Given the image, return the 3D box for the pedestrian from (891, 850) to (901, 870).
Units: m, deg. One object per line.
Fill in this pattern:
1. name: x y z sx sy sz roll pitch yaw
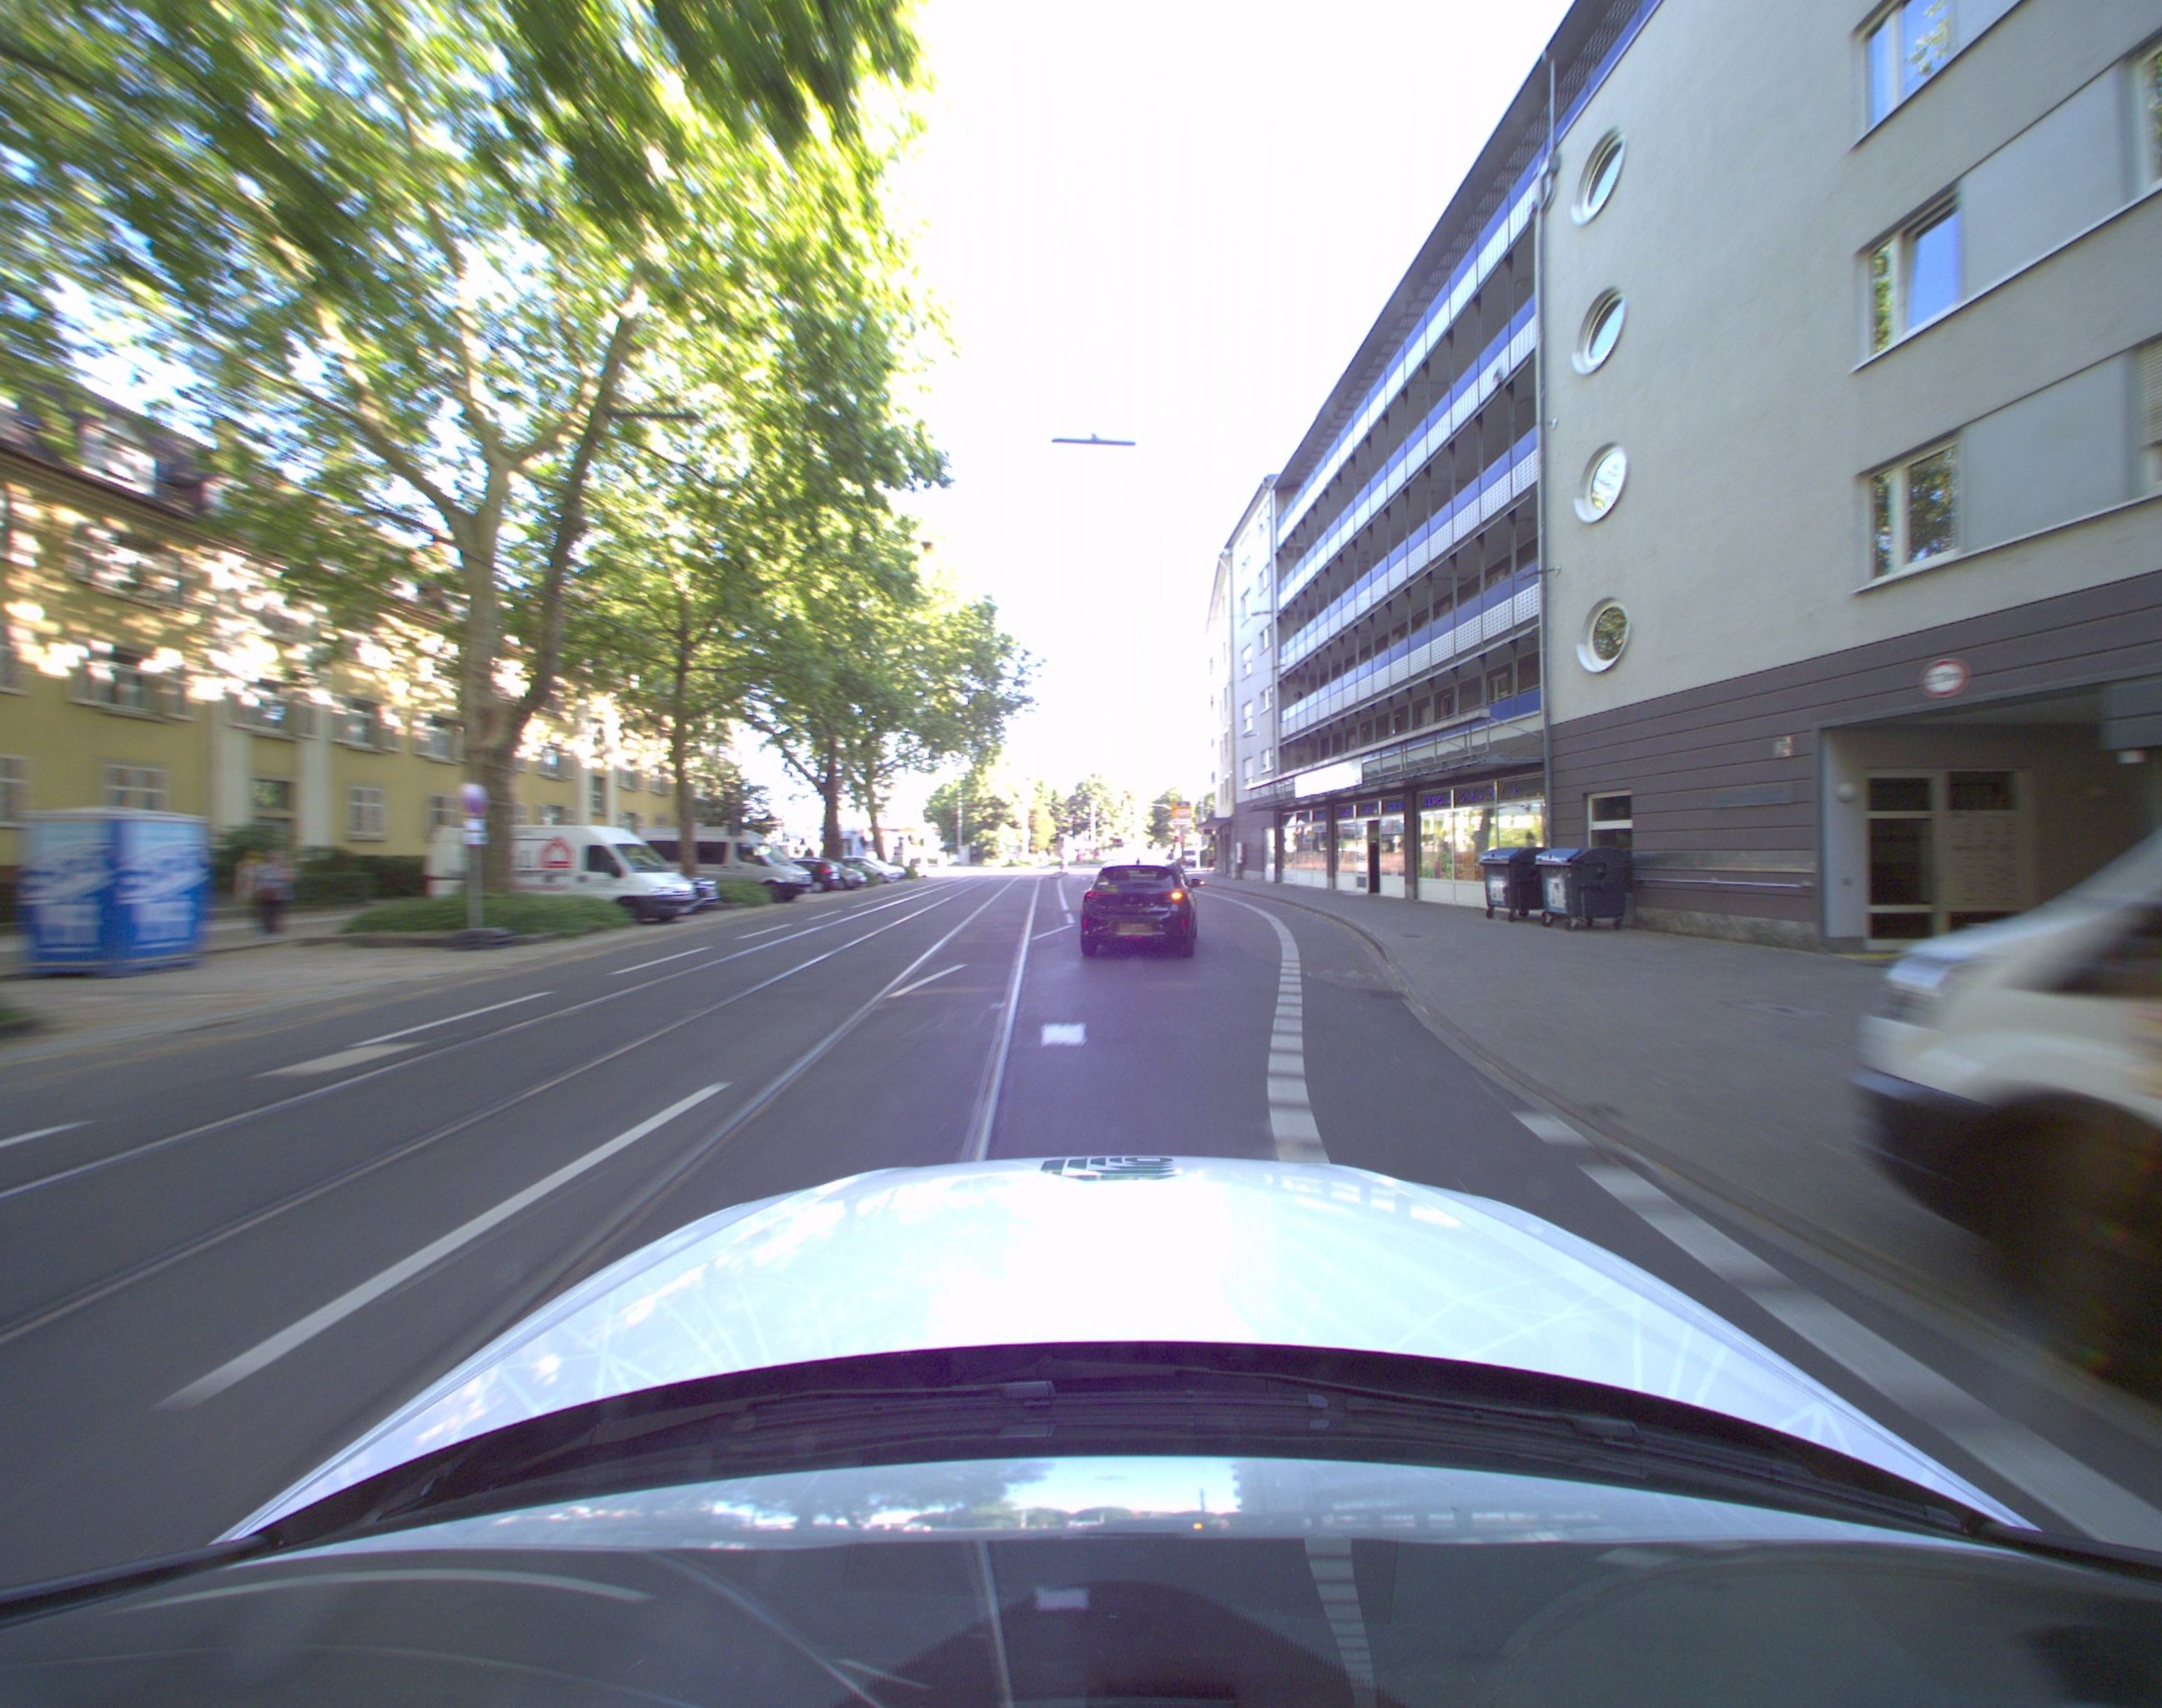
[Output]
1. pedestrian: -20.550 0.652 90.403 0.825 2.220 0.889 1 -1 -37

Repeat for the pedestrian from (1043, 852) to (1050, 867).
1. pedestrian: -4.221 0.653 100.342 0.611 1.853 0.587 0 -1 22

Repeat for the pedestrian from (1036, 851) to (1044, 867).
1. pedestrian: -5.047 0.603 100.350 0.651 1.932 0.613 0 -1 29

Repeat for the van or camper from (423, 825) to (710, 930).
1. van or camper: -12.263 0.542 19.729 5.482 2.379 2.270 0 0 1

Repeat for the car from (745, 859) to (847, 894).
1. car: -12.804 0.995 36.716 3.976 1.515 1.649 0 0 -2

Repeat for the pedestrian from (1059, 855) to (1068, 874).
1. pedestrian: -1.328 0.789 61.811 0.650 1.363 0.646 -1 0 4

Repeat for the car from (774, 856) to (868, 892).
1. car: -12.515 0.951 39.393 3.976 1.651 1.649 0 0 -2

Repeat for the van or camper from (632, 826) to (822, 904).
1. van or camper: -12.455 0.395 28.998 5.709 2.644 2.267 0 0 -2

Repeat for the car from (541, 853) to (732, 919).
1. car: -12.187 0.847 22.598 4.162 1.671 1.961 -1 0 -6

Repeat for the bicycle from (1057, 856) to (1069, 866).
1. bicycle: -1.998 0.765 89.608 0.782 0.992 2.252 0 0 14

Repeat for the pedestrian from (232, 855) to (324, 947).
1. pedestrian: -14.546 0.821 14.780 0.757 1.612 0.890 1 0 6

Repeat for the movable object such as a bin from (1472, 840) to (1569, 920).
1. movable object such as a bin: 8.741 0.496 16.260 1.108 1.484 1.386 -3 0 -2

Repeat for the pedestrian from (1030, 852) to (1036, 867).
1. pedestrian: -5.906 0.647 100.061 0.610 1.853 0.587 0 -1 27

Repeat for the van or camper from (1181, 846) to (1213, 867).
1. van or camper: 12.703 0.266 89.030 2.148 2.146 4.532 0 0 28

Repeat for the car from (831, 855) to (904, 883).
1. car: -13.458 0.915 51.504 4.162 1.671 1.961 -1 0 -6

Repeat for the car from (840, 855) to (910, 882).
1. car: -13.586 0.947 53.899 4.162 1.671 1.961 -1 0 -6

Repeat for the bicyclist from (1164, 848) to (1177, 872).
1. bicyclist: 5.359 0.366 48.525 0.701 1.435 0.704 -1 0 9

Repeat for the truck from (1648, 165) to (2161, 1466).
1. truck: 4.095 -0.117 0.236 2.532 3.338 7.189 -3 0 -2

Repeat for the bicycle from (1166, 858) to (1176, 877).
1. bicycle: 5.367 0.812 48.389 0.505 1.067 1.569 -1 0 10

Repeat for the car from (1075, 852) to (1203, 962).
1. car: 1.030 0.719 13.274 1.772 1.496 4.008 0 0 7

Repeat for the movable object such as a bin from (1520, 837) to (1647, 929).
1. movable object such as a bin: 8.844 0.491 14.423 1.183 1.484 1.593 -3 0 -2

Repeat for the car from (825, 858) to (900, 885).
1. car: -12.935 1.027 48.375 3.976 1.515 1.649 0 0 -2
